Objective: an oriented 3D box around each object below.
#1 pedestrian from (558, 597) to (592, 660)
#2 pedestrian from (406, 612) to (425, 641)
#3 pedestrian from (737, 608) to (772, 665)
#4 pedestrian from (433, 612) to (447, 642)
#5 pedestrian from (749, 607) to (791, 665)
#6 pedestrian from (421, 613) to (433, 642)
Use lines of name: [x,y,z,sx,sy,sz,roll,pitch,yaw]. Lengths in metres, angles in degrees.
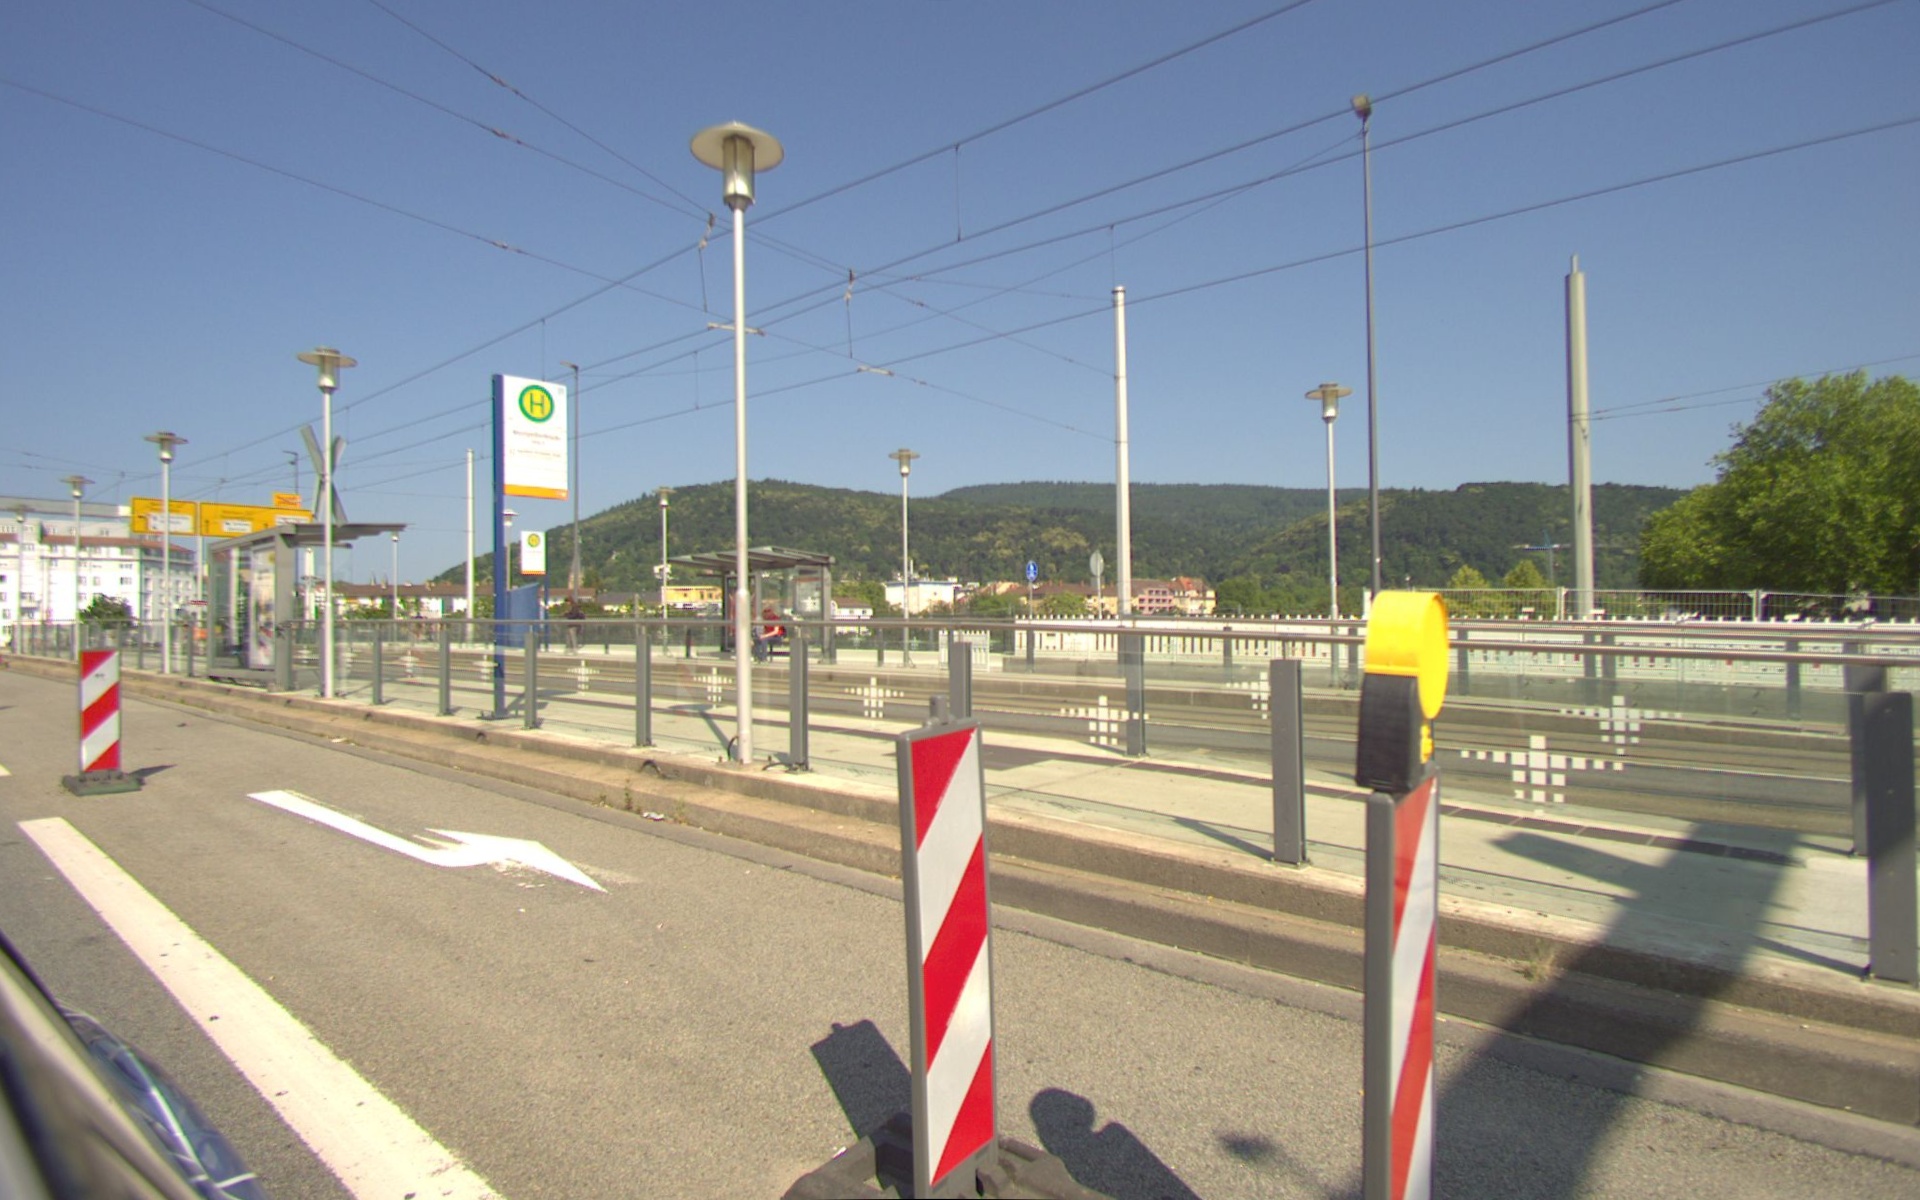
pedestrian: [-10.413,0.780,27.385,0.652,1.667,0.740,1,-2,-39]
pedestrian: [-32.104,1.583,59.669,0.731,1.700,0.745,-3,-3,40]
pedestrian: [-4.748,0.836,23.374,0.453,1.283,0.641,-2,-2,43]
pedestrian: [-30.690,1.594,59.744,0.772,1.700,0.498,-3,-3,40]
pedestrian: [-4.320,0.816,22.978,0.697,1.283,0.641,-2,-2,43]
pedestrian: [-31.795,1.619,60.367,0.769,1.700,0.379,-3,-3,40]
